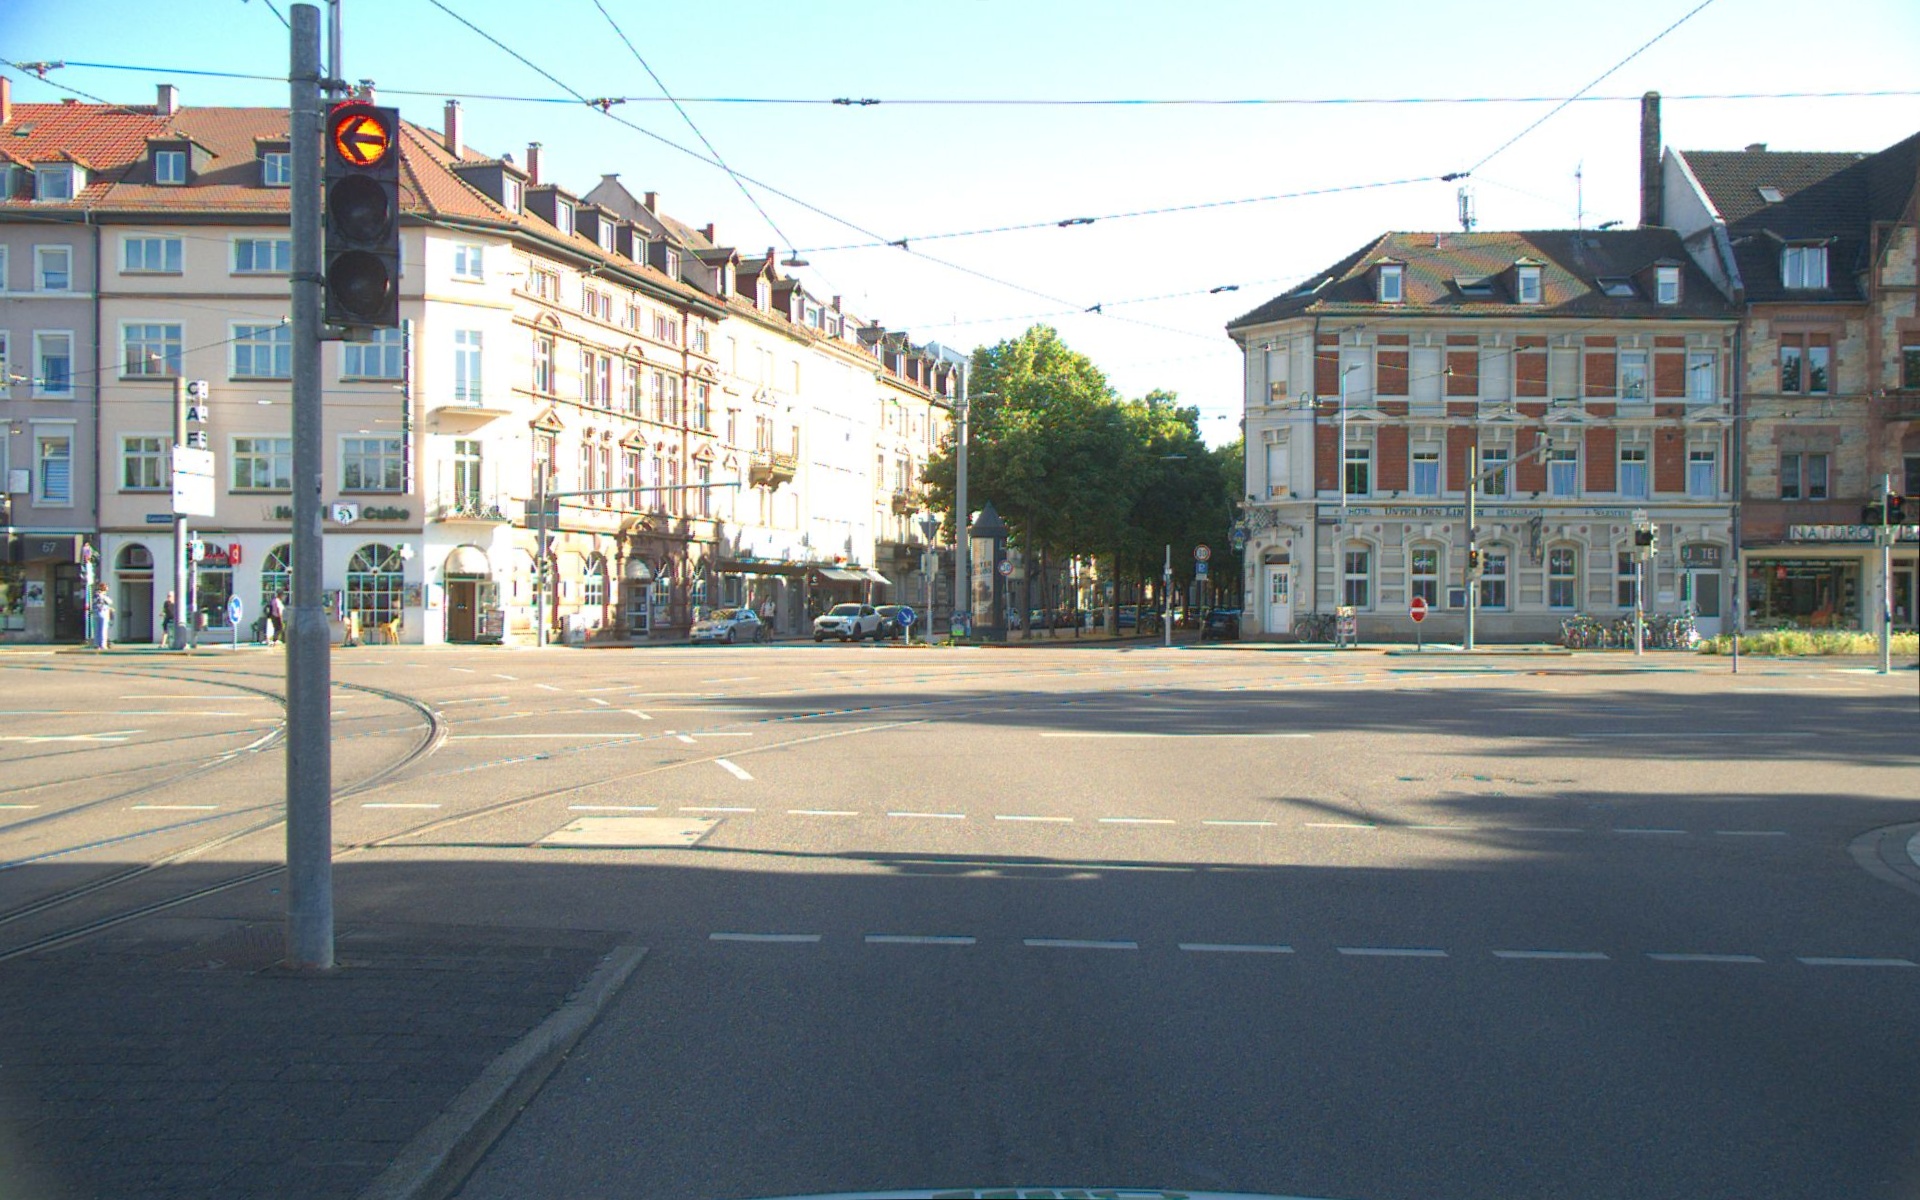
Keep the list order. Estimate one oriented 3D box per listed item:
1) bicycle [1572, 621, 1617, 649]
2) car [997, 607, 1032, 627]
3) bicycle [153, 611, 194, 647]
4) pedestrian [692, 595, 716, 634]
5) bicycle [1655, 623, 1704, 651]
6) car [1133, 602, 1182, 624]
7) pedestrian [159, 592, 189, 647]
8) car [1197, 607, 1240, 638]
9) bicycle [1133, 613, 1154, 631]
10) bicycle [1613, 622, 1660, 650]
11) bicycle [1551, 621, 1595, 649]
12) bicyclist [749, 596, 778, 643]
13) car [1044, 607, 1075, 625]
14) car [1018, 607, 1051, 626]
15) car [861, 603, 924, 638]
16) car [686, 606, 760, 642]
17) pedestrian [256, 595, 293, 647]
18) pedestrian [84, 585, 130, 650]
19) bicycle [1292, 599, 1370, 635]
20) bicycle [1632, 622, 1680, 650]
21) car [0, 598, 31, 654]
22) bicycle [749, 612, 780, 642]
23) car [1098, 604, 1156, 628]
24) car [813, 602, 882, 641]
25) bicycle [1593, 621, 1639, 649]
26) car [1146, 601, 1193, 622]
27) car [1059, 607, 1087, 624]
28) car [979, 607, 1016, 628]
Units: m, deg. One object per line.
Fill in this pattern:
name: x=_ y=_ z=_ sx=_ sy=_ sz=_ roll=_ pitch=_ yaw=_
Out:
bicycle: x=20.480 y=1.125 z=53.454 sx=0.645 sy=0.855 sz=2.160 roll=1 pitch=0 yaw=0
car: x=3.815 y=1.161 z=115.512 sx=1.642 sy=1.378 sz=3.593 roll=0 pitch=0 yaw=16
bicycle: x=-24.647 y=0.909 z=51.821 sx=0.561 sy=1.096 sz=1.497 roll=1 pitch=0 yaw=-1
pedestrian: x=-11.253 y=0.627 z=72.641 sx=0.759 sy=1.699 sz=0.831 roll=1 pitch=-1 yaw=15
bicycle: x=23.279 y=1.174 z=53.526 sx=0.645 sy=0.855 sz=2.160 roll=1 pitch=0 yaw=0
car: x=15.311 y=0.964 z=128.245 sx=3.503 sy=1.677 sz=1.684 roll=0 pitch=0 yaw=16
pedestrian: x=-24.643 y=0.610 z=51.874 sx=0.570 sy=1.699 sz=0.752 roll=1 pitch=-1 yaw=-1
car: x=12.955 y=1.110 z=82.747 sx=1.642 sy=1.509 sz=3.950 roll=0 pitch=0 yaw=16
bicycle: x=11.047 y=1.300 z=99.625 sx=0.625 sy=1.039 sz=1.840 roll=1 pitch=0 yaw=-14
bicycle: x=21.863 y=1.149 z=53.501 sx=0.645 sy=0.855 sz=2.160 roll=1 pitch=0 yaw=0
bicycle: x=19.761 y=1.112 z=53.366 sx=0.645 sy=0.855 sz=2.160 roll=1 pitch=0 yaw=0
bicyclist: x=-7.716 y=0.767 z=65.000 sx=0.761 sy=1.834 sz=1.056 roll=1 pitch=-1 yaw=13
car: x=7.884 y=1.218 z=130.841 sx=1.642 sy=1.378 sz=3.593 roll=0 pitch=0 yaw=16
car: x=5.526 y=1.227 z=122.499 sx=1.642 sy=1.378 sz=3.593 roll=0 pitch=0 yaw=16
car: x=-2.951 y=0.889 z=73.548 sx=1.642 sy=1.509 sz=3.950 roll=0 pitch=0 yaw=16
car: x=-9.542 y=0.934 z=66.741 sx=1.642 sy=1.378 sz=3.593 roll=0 pitch=0 yaw=16
pedestrian: x=-21.394 y=0.665 z=51.613 sx=0.715 sy=1.605 sz=0.828 roll=0 pitch=-1 yaw=43
pedestrian: x=-21.350 y=0.440 z=41.399 sx=0.539 sy=1.605 sz=0.832 roll=1 pitch=-1 yaw=27
bicycle: x=12.866 y=0.592 z=57.455 sx=2.504 sy=1.194 sz=0.818 roll=1 pitch=-1 yaw=-4
bicycle: x=22.490 y=1.160 z=53.481 sx=0.645 sy=0.855 sz=2.160 roll=1 pitch=0 yaw=0
car: x=-32.152 y=0.787 z=52.250 sx=4.276 sy=1.741 sz=2.306 roll=1 pitch=0 yaw=1
bicycle: x=-7.682 y=1.047 z=65.123 sx=0.687 sy=1.137 sz=1.636 roll=1 pitch=0 yaw=13
car: x=11.707 y=1.120 z=115.832 sx=3.819 sy=1.677 sz=1.684 roll=0 pitch=0 yaw=16
car: x=-4.537 y=0.844 z=67.223 sx=1.642 sy=1.509 sz=3.774 roll=0 pitch=0 yaw=16
bicycle: x=21.192 y=1.137 z=53.467 sx=0.645 sy=0.855 sz=2.160 roll=1 pitch=0 yaw=0
car: x=16.933 y=0.890 z=133.745 sx=3.503 sy=1.677 sz=1.684 roll=0 pitch=0 yaw=16
car: x=9.308 y=1.255 z=135.893 sx=1.642 sy=1.378 sz=3.593 roll=0 pitch=0 yaw=16
car: x=2.558 y=1.142 z=111.336 sx=1.642 sy=1.378 sz=3.593 roll=0 pitch=0 yaw=16
